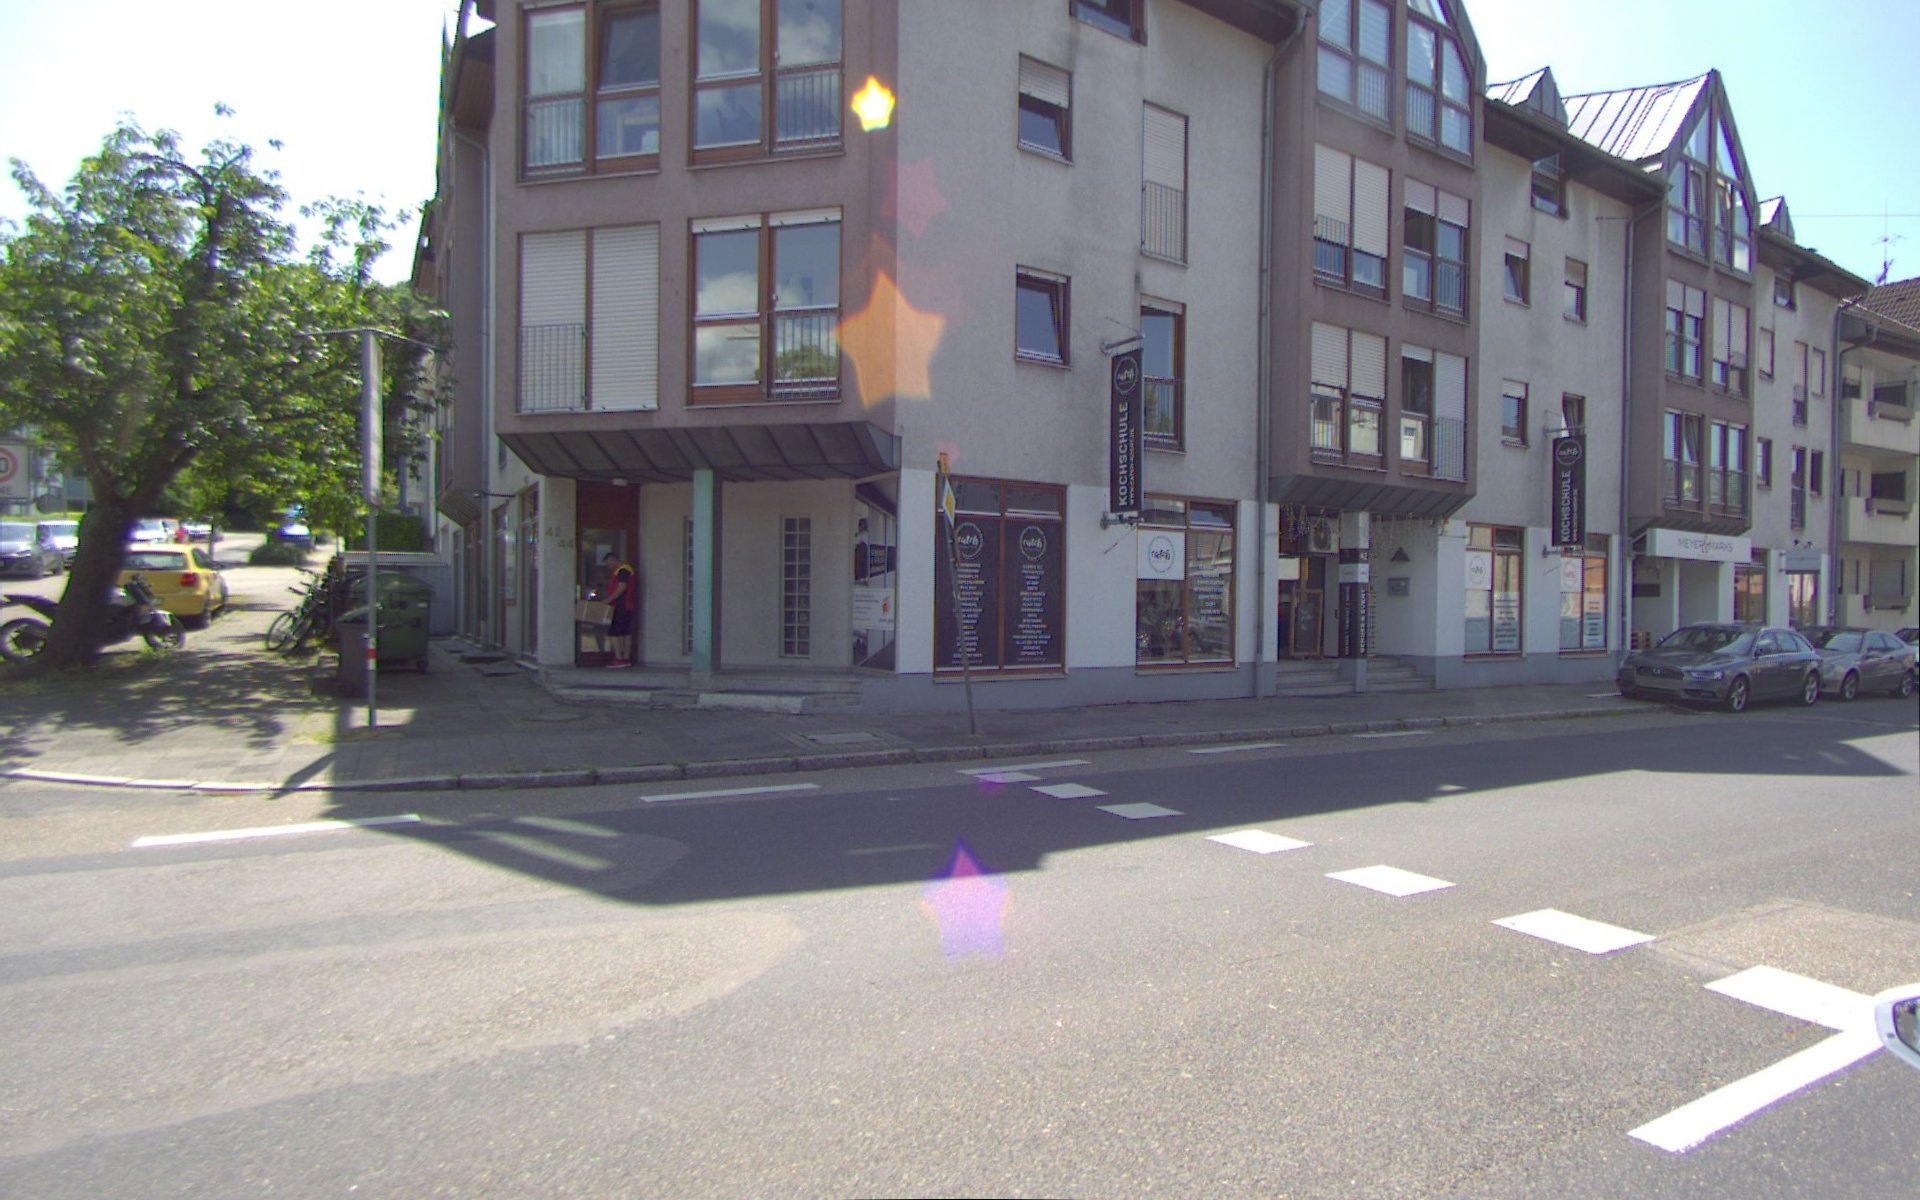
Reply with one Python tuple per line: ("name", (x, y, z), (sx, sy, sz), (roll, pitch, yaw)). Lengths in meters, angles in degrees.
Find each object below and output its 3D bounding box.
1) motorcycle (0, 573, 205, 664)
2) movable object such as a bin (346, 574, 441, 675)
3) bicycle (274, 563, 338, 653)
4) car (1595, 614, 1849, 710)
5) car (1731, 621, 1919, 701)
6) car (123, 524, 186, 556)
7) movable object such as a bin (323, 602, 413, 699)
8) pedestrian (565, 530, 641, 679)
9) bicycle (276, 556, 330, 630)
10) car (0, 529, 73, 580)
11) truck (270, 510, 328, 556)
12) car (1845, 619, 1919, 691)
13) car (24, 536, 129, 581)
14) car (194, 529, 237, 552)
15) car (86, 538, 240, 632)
("motorcycle", (-12.149, 0.218, 14.044), (0.915, 1.049, 2.375), (5, 7, 40))
("movable object such as a bin", (-8.268, 0.340, 14.643), (1.076, 1.385, 1.265), (1, 1, -35))
("bicycle", (-9.874, 0.111, 15.174), (0.749, 1.251, 2.243), (1, 0, -33))
("car", (14.051, 1.094, 18.464), (4.908, 1.467, 1.831), (2, 2, -29))
("car", (18.191, 1.230, 20.921), (4.275, 1.402, 1.831), (2, 2, -30))
("car", (-34.378, -2.600, 42.961), (1.541, 1.247, 3.759), (-2, 5, -31))
("movable object such as a bin", (-7.072, 0.584, 12.016), (0.660, 1.111, 0.632), (1, 0, 20))
("pedestrian", (-5.047, 0.060, 14.196), (0.830, 2.041, 0.593), (1, 1, -37))
("bicycle", (-11.787, -0.117, 18.062), (0.749, 1.251, 2.243), (1, 0, -33))
("car", (-25.444, -1.253, 26.967), (1.713, 1.247, 3.759), (-2, 5, -31))
("truck", (-32.881, -3.401, 50.089), (2.081, 2.063, 5.398), (1, 4, -30))
("car", (22.754, 1.278, 23.476), (4.336, 1.509, 1.830), (2, 2, -31))
("car", (-27.447, -1.348, 31.323), (1.713, 1.247, 3.759), (-2, 5, -31))
("car", (-43.352, -3.506, 58.540), (1.541, 1.247, 3.759), (-2, 5, -31))
("car", (-14.711, -0.373, 18.737), (1.636, 1.433, 3.760), (-2, 6, -30))
